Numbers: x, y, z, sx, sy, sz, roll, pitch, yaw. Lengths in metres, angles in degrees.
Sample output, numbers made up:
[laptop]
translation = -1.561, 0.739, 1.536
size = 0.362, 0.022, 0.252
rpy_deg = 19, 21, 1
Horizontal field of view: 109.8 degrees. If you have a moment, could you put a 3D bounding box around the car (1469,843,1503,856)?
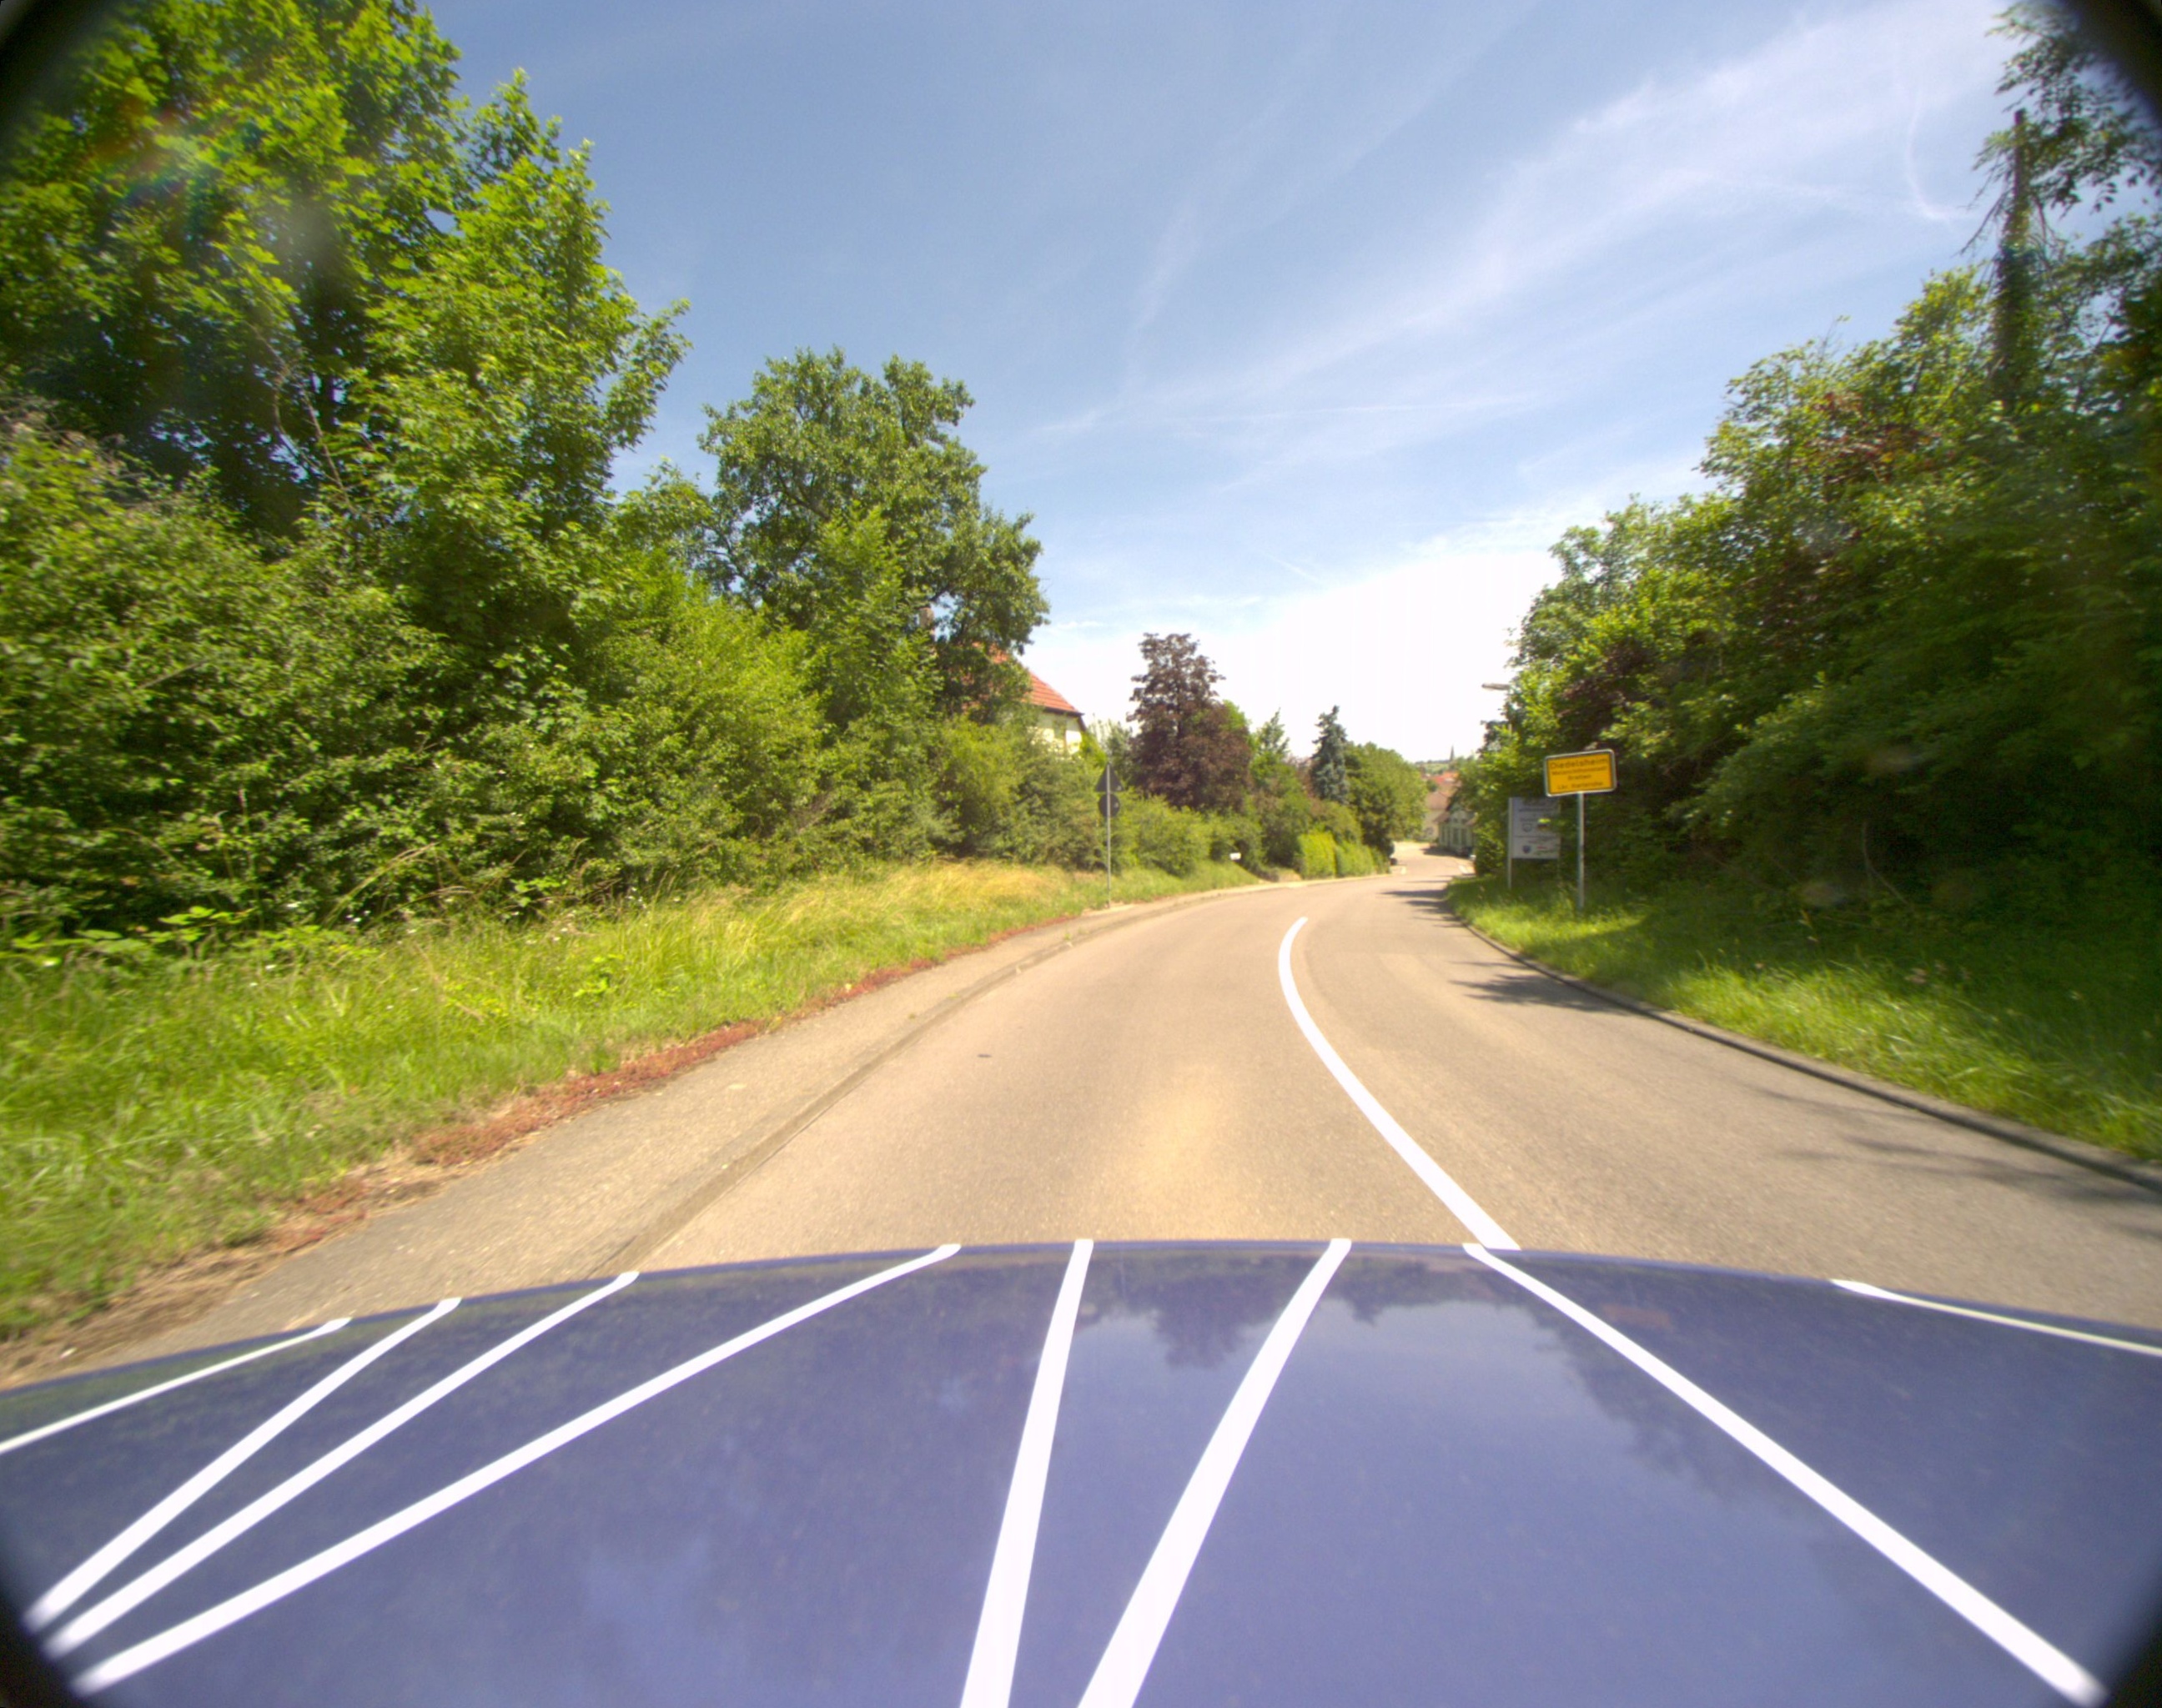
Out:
[car]
translation = 52.326, -0.554, 98.231
size = 3.576, 1.377, 1.517
rpy_deg = -5, 1, 16
